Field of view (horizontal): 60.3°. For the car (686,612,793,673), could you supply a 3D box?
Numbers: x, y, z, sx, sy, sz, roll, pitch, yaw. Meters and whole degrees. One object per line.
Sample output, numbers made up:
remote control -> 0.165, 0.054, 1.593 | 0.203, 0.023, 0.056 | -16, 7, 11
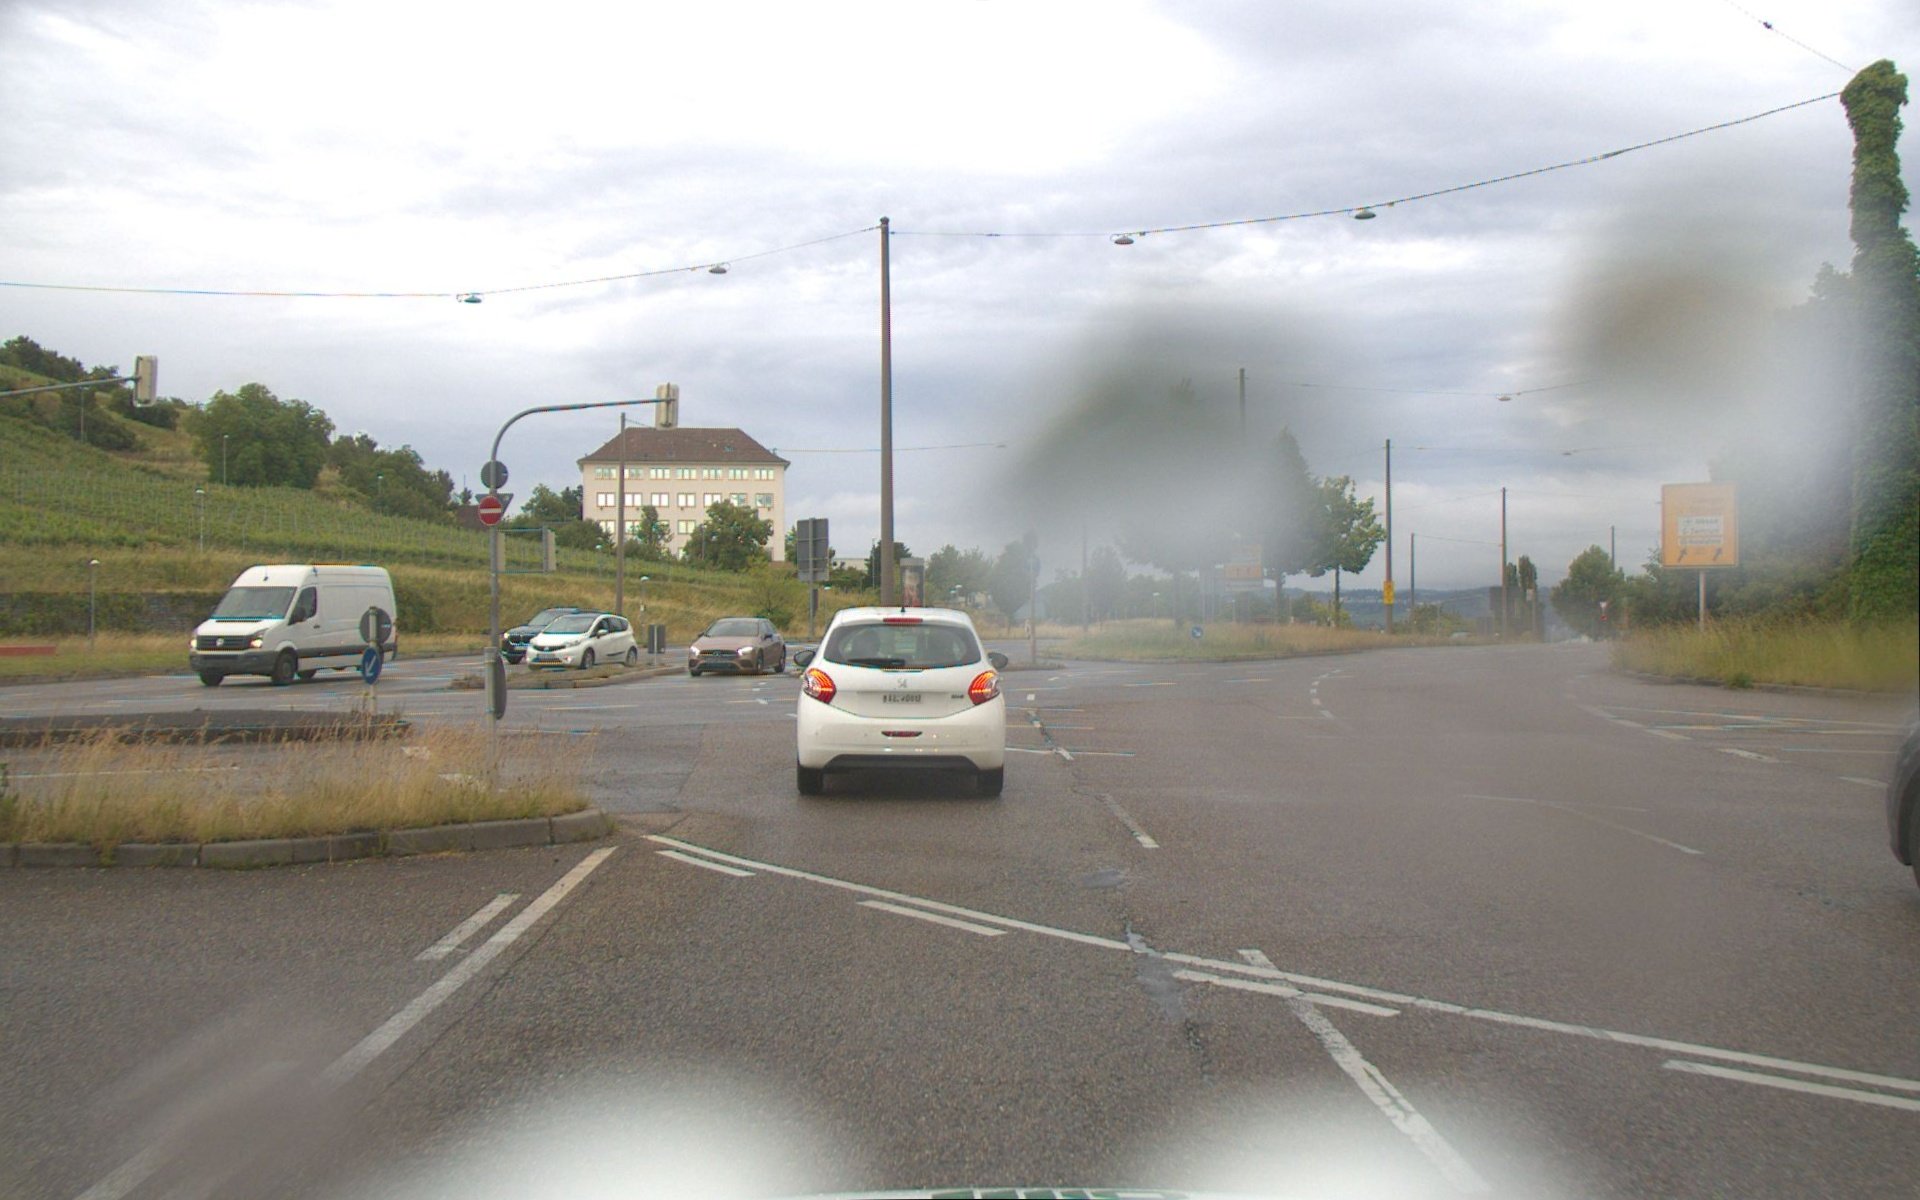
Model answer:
car -> -5.594, 1.054, 42.476 | 1.738, 1.450, 4.376 | -1, -1, 5

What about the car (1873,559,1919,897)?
car -> 5.779, 0.643, 6.505 | 1.827, 1.704, 4.564 | 0, 0, -1

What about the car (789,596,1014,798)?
car -> -0.418, 0.747, 14.470 | 1.682, 1.515, 4.000 | 0, 0, 1

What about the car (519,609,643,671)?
car -> -10.160, 1.053, 44.628 | 1.713, 1.539, 4.003 | 1, -1, 12

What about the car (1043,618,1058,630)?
car -> 12.320, 3.288, 225.275 | 1.804, 1.512, 3.999 | -1, 0, -2

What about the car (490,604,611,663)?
car -> -12.447, 1.012, 50.567 | 1.738, 1.665, 4.512 | 1, -1, 12

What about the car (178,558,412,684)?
car -> -15.033, 0.467, 37.892 | 1.951, 2.604, 6.175 | 1, -1, 10

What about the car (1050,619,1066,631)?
car -> 12.858, 3.229, 216.888 | 1.804, 1.512, 3.999 | -1, 0, -2
